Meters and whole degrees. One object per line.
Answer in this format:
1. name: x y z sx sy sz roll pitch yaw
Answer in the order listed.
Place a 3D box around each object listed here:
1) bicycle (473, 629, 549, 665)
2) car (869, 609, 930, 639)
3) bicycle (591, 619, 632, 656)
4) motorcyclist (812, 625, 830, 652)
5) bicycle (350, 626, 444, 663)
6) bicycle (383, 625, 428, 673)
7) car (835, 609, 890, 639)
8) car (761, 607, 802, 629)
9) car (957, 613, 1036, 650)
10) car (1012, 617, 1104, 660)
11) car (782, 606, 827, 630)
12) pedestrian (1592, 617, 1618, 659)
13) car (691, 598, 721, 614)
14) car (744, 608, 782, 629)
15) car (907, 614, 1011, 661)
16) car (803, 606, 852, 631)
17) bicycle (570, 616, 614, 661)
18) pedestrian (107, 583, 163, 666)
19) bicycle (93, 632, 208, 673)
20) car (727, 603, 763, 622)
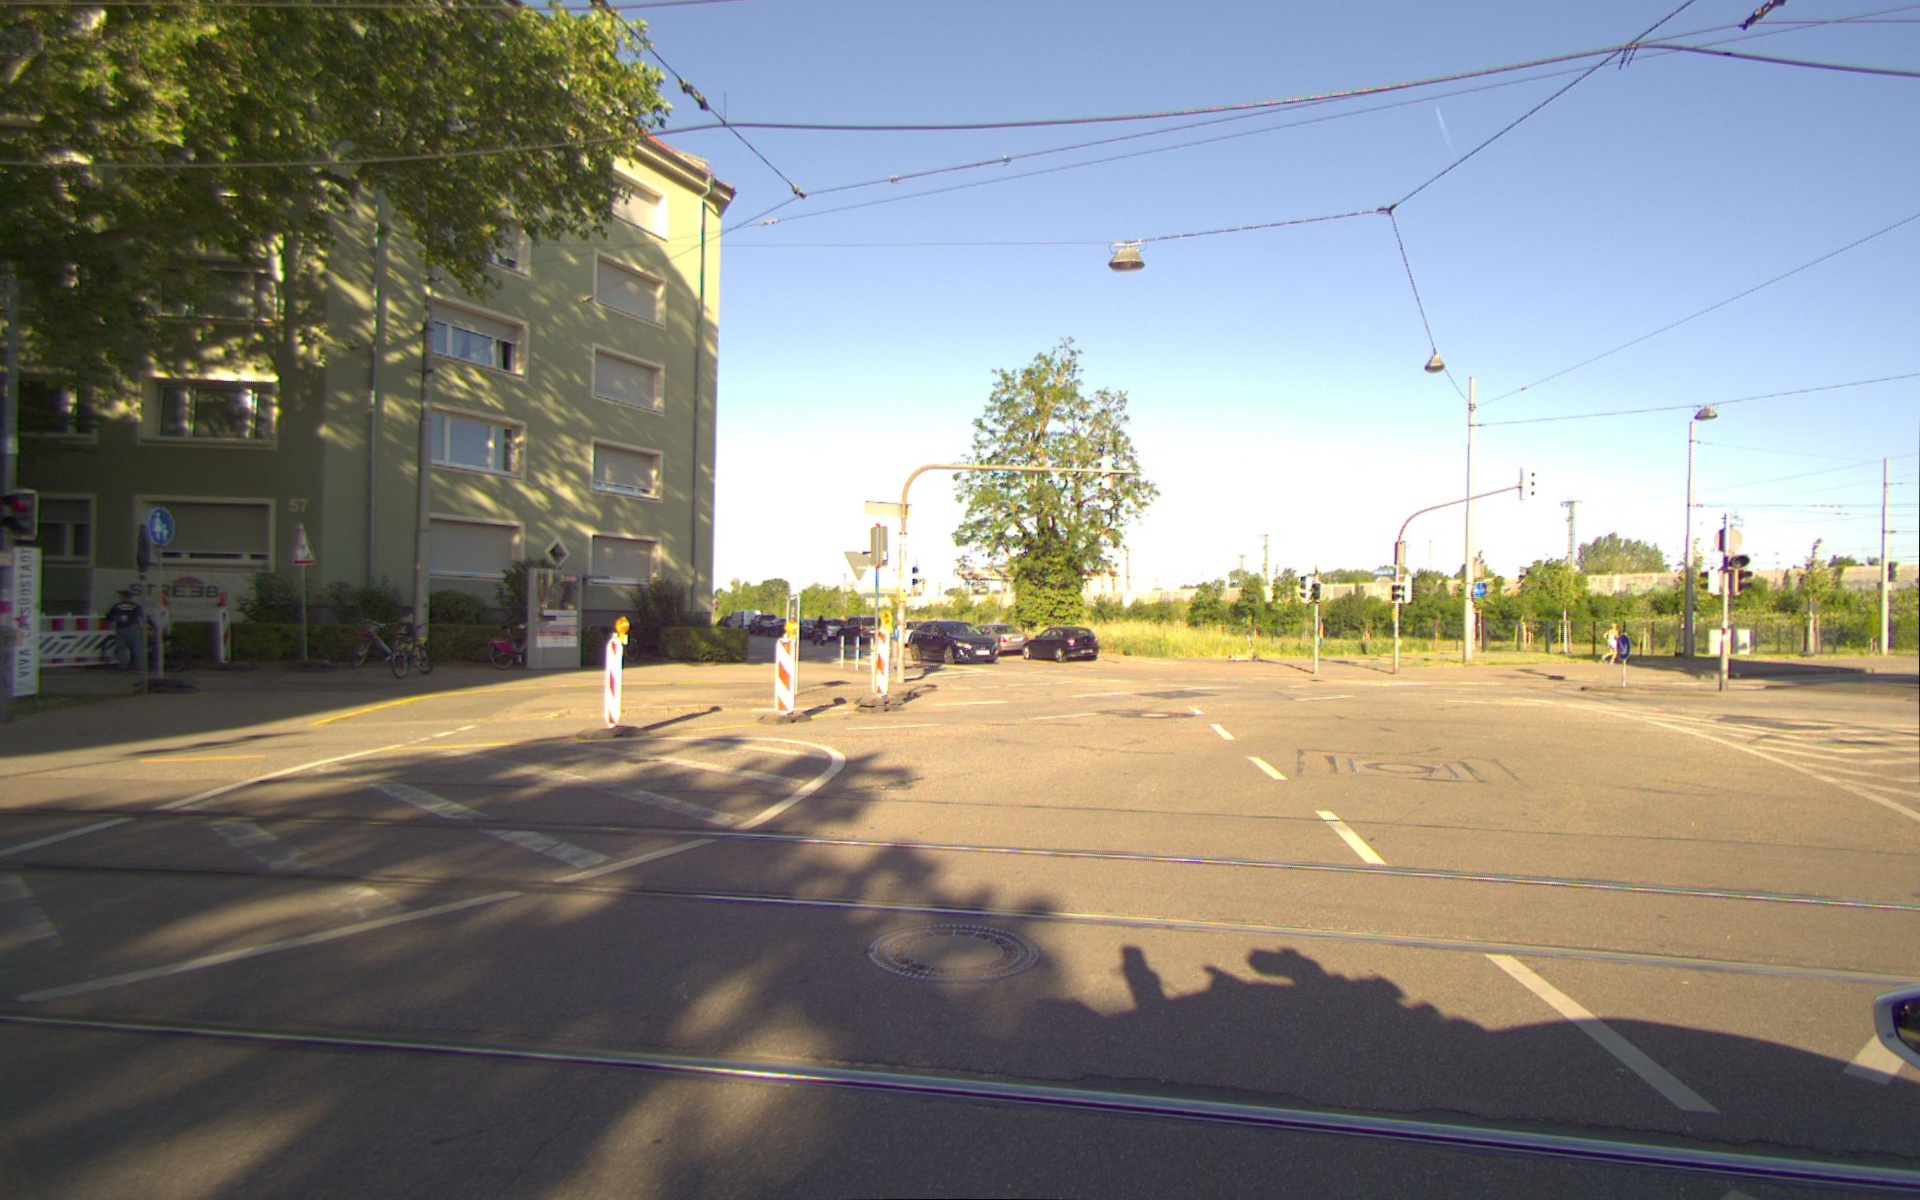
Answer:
1. bicycle: -10.488 1.083 23.520 0.352 0.769 1.778 0 0 27
2. car: -3.462 1.325 56.886 1.871 1.439 3.969 -6 3 -29
3. bicycle: -10.706 1.150 30.833 1.487 1.102 0.357 0 0 33
4. motorcyclist: -7.813 2.167 56.419 0.707 1.453 0.788 1 1 -34
5. bicycle: -12.380 0.965 22.120 0.353 0.769 1.769 0 0 44
6. bicycle: -11.254 0.966 20.409 0.352 0.900 1.775 1 0 -14
7. car: -6.076 1.456 62.179 1.871 1.589 3.969 -6 3 -29
8. car: -13.767 1.385 77.271 1.871 1.439 3.969 -6 3 -29
9. car: 1.678 1.445 47.105 1.871 1.439 3.969 -6 3 -29
10. car: 4.037 1.558 41.925 1.871 1.439 3.969 -6 3 -29
11. car: -11.092 1.282 71.386 1.871 1.439 3.969 -6 3 -29
12. pedestrian: 25.856 1.514 40.267 0.676 1.617 0.596 1 1 -29
13. car: -24.947 0.561 98.607 1.871 1.439 3.969 -6 3 -29
14. car: -16.231 1.489 82.481 1.871 1.439 3.969 -6 3 -29
15. car: -0.109 1.253 34.978 1.976 1.439 3.969 -1 1 -29
16. car: -8.886 1.225 67.221 1.871 1.439 3.969 -6 3 -29
17. bicycle: -10.444 1.078 28.493 1.487 1.221 0.357 0 0 33
18. pedestrian: -16.147 0.470 19.669 0.734 1.589 0.597 1 0 -30
19. bicycle: -16.239 1.044 20.186 1.760 0.769 0.355 1 0 -31
20. car: -18.809 1.073 87.700 1.871 1.439 3.969 -6 3 -29
